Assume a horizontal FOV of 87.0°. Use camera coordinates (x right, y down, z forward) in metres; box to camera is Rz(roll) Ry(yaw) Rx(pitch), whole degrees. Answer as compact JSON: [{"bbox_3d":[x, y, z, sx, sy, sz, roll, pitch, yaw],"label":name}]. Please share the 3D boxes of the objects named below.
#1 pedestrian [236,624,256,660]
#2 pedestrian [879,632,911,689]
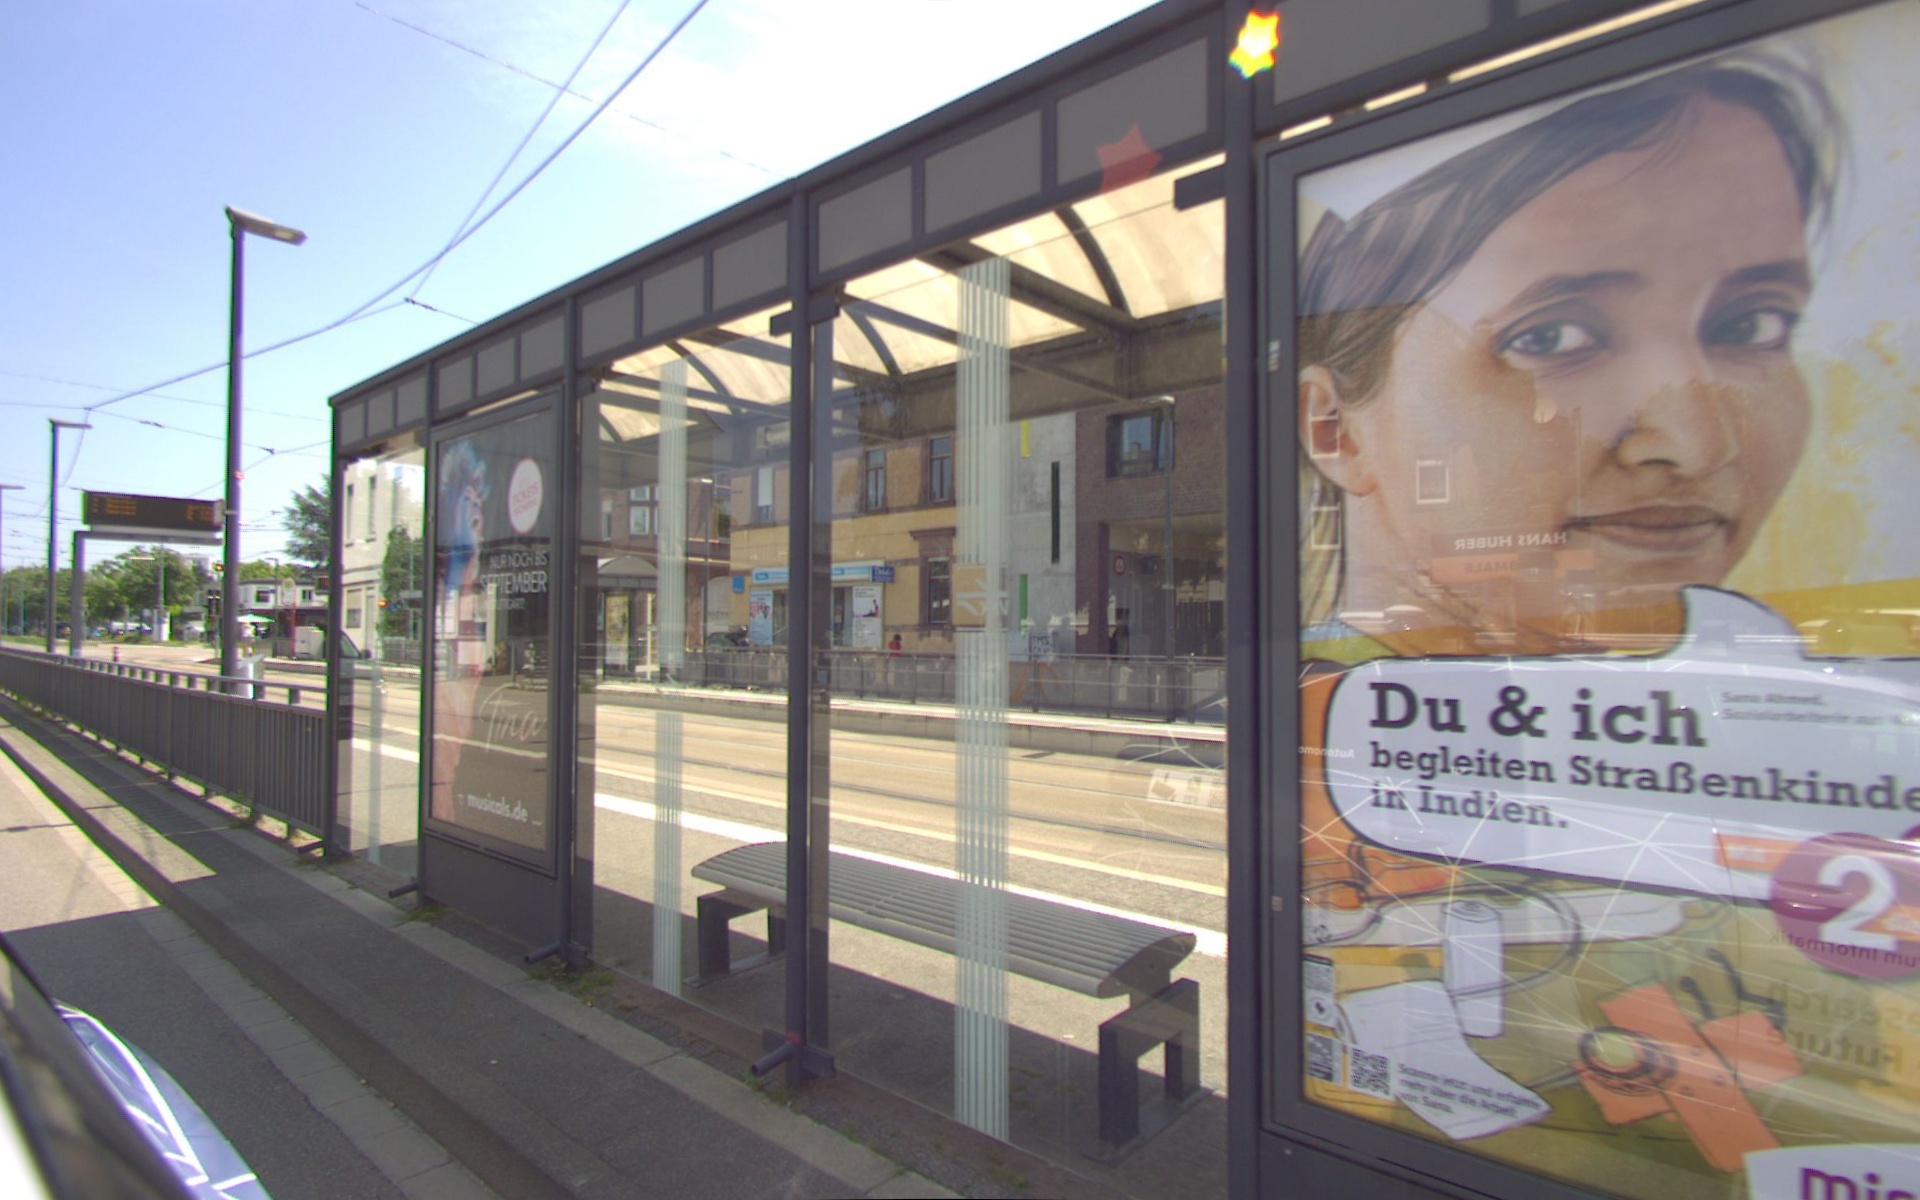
[{"bbox_3d":[-32.746,1.946,46.420,0.676,1.637,0.589,-2,-4,43],"label":"pedestrian"},{"bbox_3d":[-1.888,1.734,29.253,0.715,1.608,0.597,-2,-3,40],"label":"pedestrian"}]
